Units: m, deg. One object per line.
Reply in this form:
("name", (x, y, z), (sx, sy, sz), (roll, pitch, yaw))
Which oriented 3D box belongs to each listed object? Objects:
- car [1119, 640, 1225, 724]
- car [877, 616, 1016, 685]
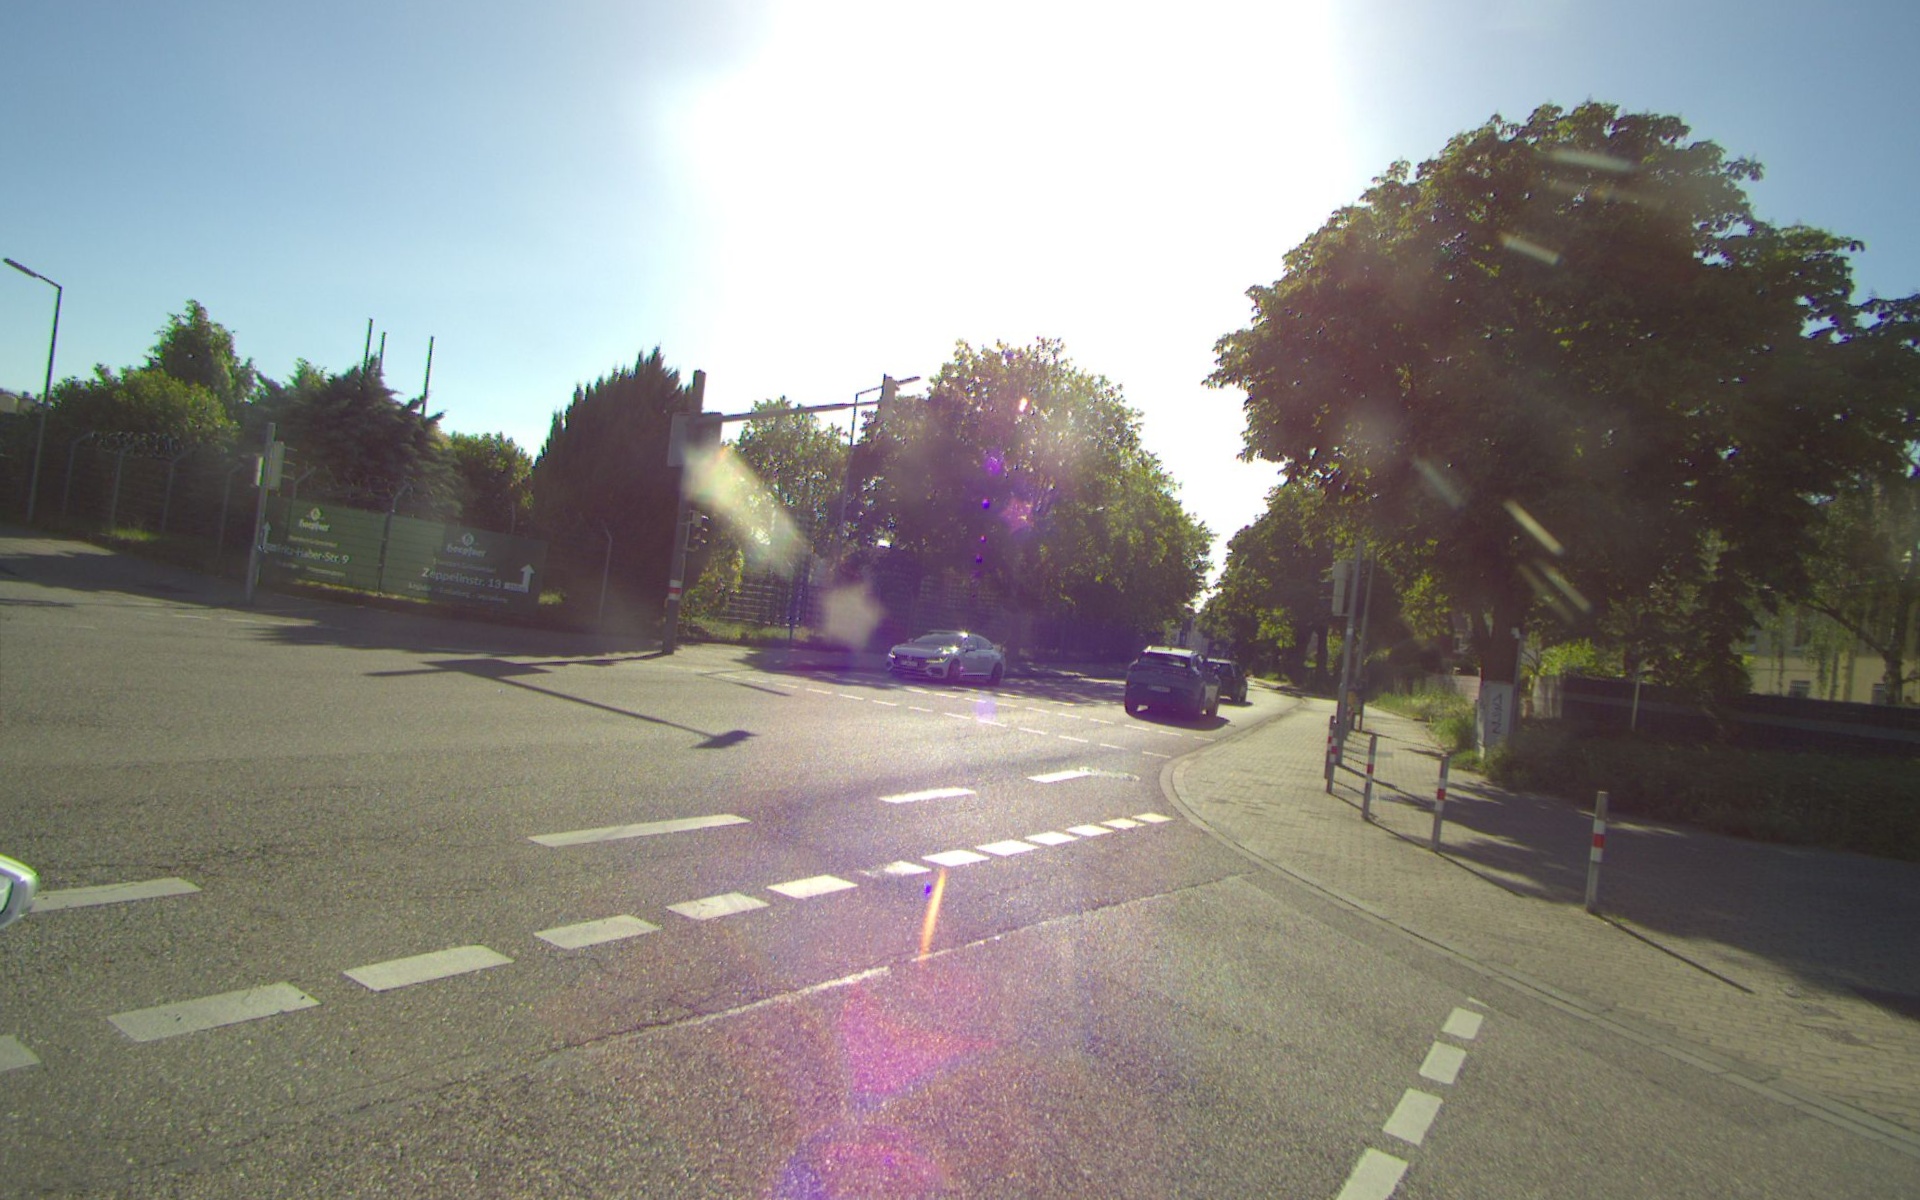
("car", (5.366, 2.028, 25.027), (1.828, 1.654, 4.259), (7, -2, 20))
("car", (-0.267, 1.445, 27.715), (1.779, 1.550, 4.511), (7, -1, 27))
